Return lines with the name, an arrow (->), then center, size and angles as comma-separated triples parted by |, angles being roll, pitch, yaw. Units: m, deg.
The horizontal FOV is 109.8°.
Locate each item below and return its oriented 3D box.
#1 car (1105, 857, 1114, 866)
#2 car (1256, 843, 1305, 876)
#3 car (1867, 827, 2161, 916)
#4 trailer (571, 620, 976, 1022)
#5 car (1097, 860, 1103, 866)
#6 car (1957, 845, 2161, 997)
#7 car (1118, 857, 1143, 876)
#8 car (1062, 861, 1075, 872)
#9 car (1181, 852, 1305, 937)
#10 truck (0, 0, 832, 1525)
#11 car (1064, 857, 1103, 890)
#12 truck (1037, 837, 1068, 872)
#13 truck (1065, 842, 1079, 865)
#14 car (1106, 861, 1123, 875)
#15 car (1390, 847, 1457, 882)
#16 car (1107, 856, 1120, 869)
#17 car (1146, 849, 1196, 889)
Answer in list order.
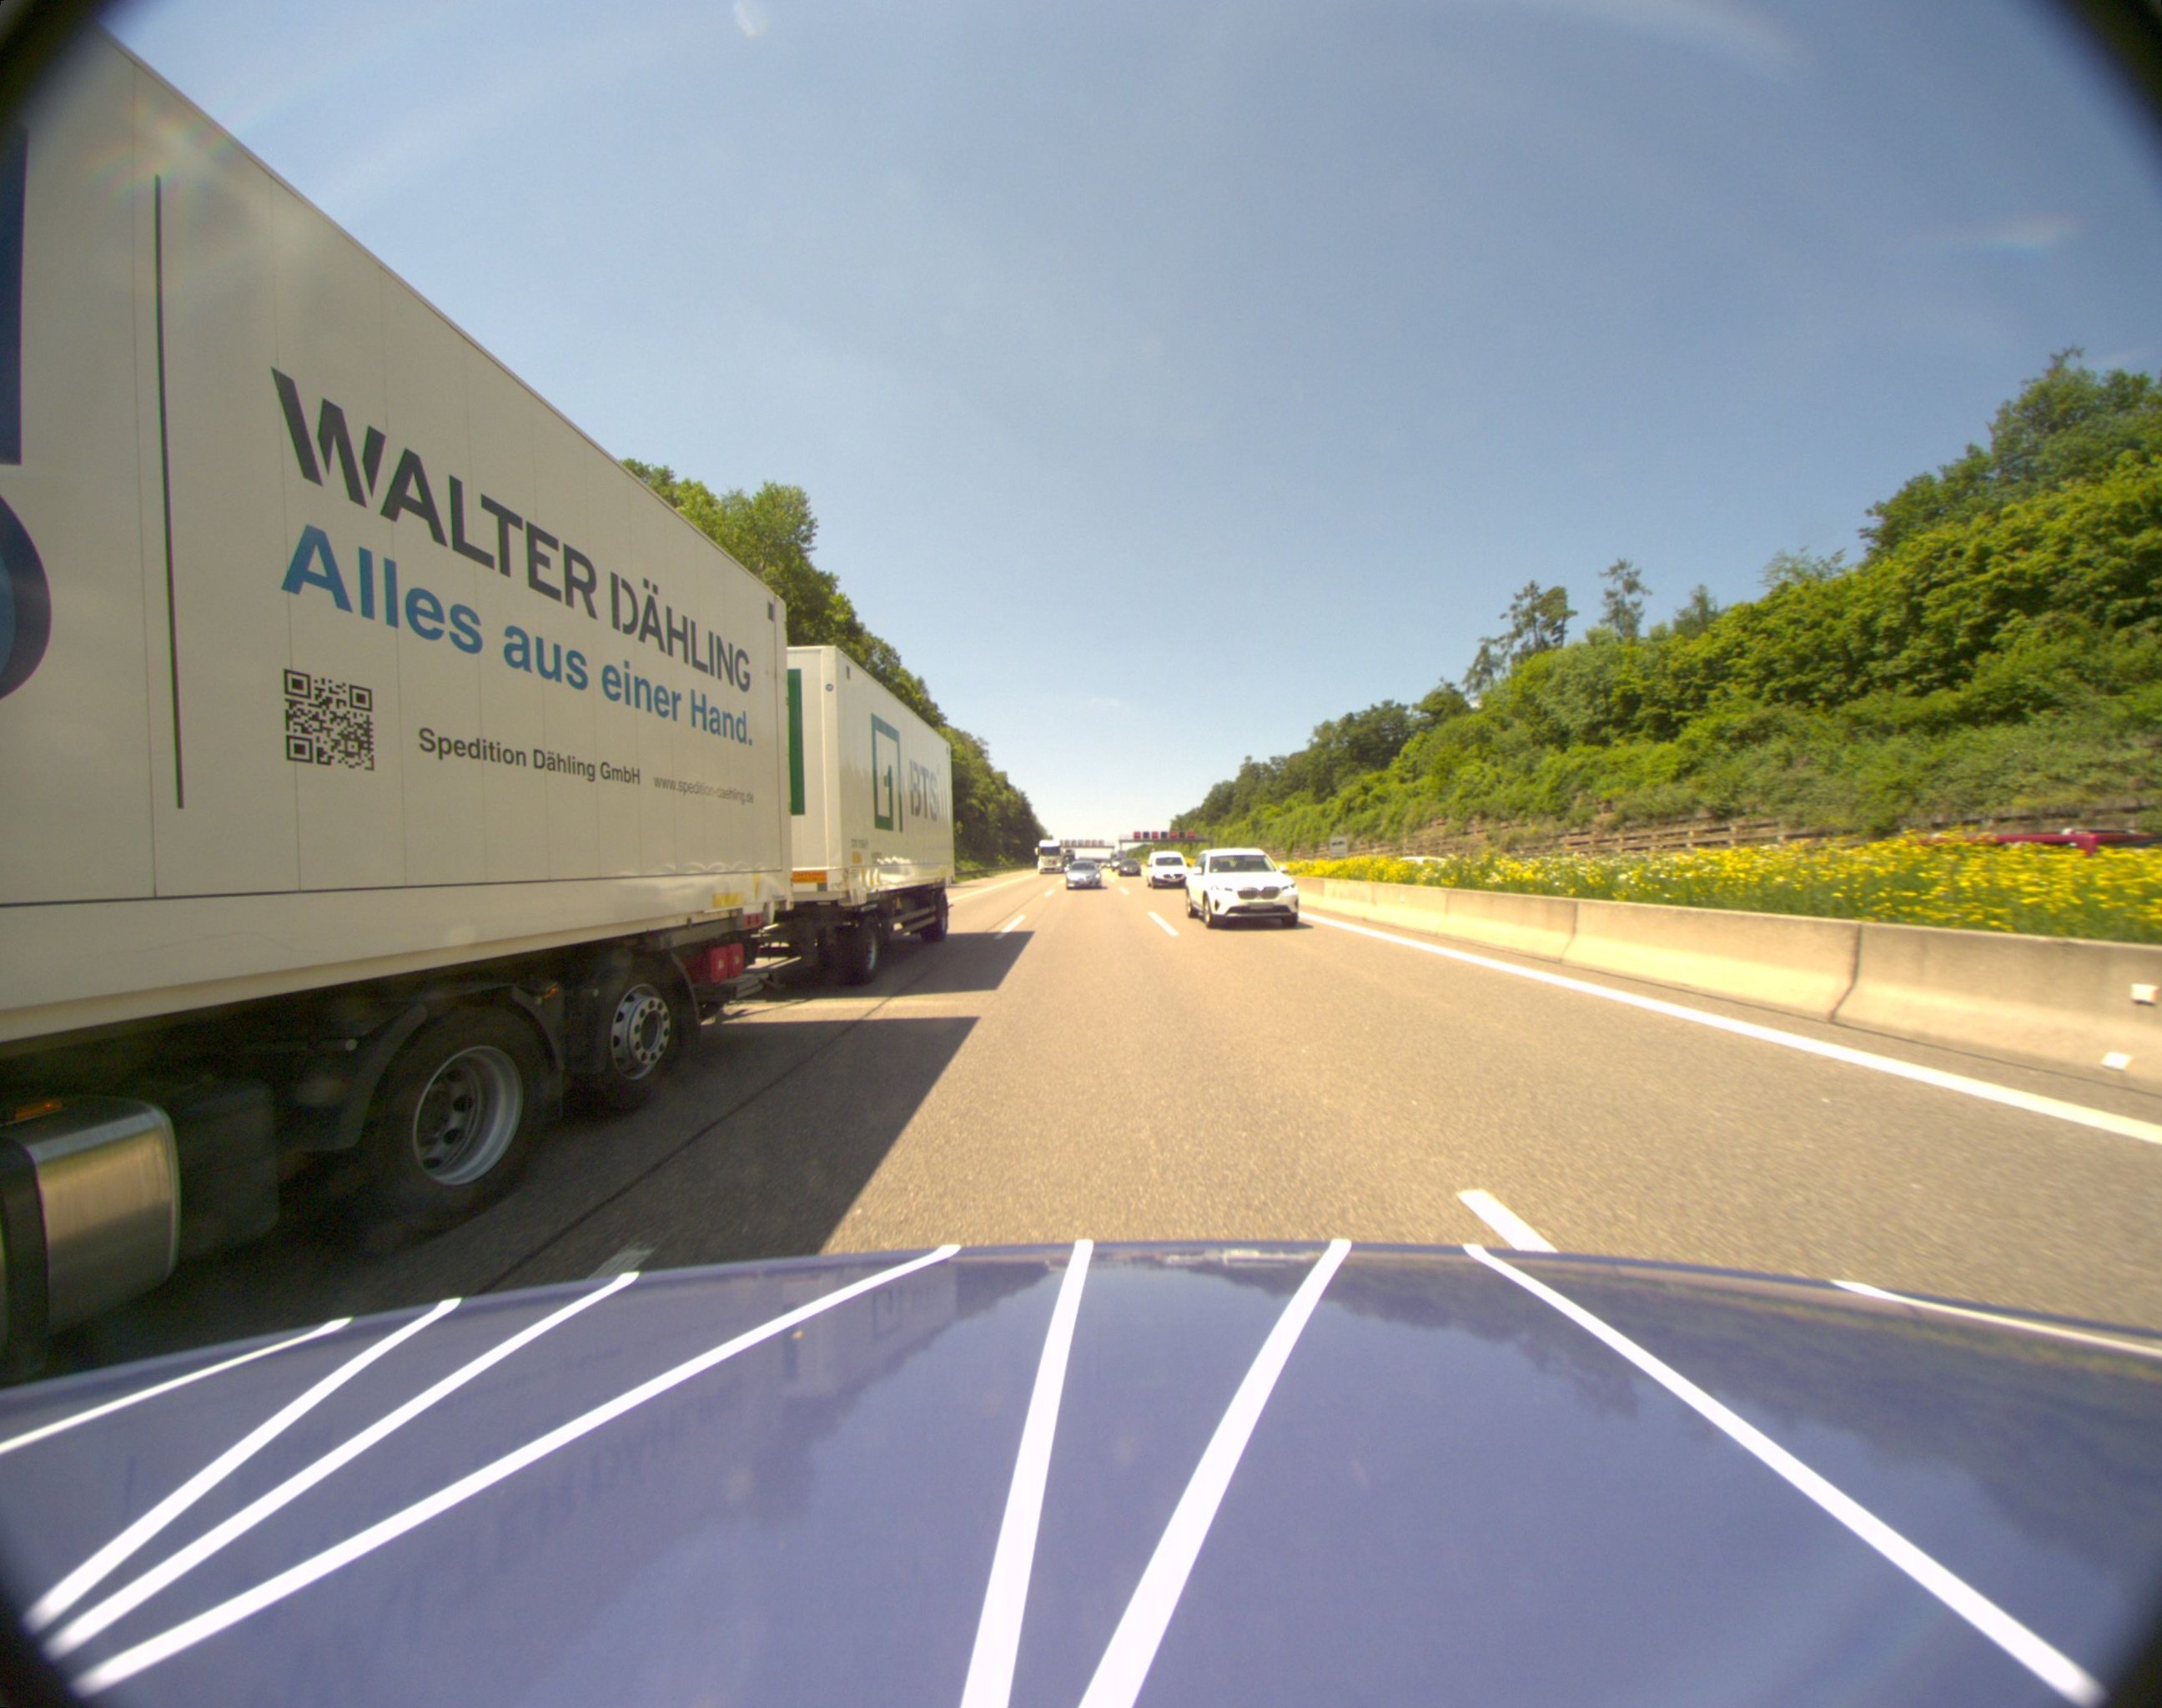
car -> 6.182, 1.577, 165.924 | 1.924, 1.848, 4.001 | -3, -1, 2
car -> 12.171, 0.355, 46.674 | 1.895, 1.796, 4.502 | -3, -1, 2
car -> 22.356, 0.339, 18.348 | 1.998, 1.797, 4.654 | -3, 1, 2
trailer -> -3.931, -0.265, 13.009 | 2.687, 4.150, 10.066 | -2, -1, 0
car -> 6.407, 3.114, 256.575 | 1.924, 1.848, 4.001 | -3, -1, 2
car -> 11.667, 0.665, 7.046 | 1.792, 1.513, 4.586 | 0, 0, 0
car -> 4.108, 1.043, 63.925 | 1.770, 1.504, 4.726 | -3, -1, 0
car -> -1.885, 1.792, 112.609 | 1.770, 1.504, 4.001 | -3, -1, 0
car -> 3.479, 0.801, 17.167 | 1.850, 1.634, 4.368 | -2, 0, 0
truck -> -4.031, -0.328, 2.477 | 2.686, 4.035, 10.627 | -2, -1, 1
car -> 0.183, 0.991, 39.614 | 1.843, 1.517, 4.502 | -3, -1, 2
truck -> -3.102, 0.169, 86.949 | 2.844, 3.517, 13.089 | -3, -1, 0
truck -> -1.831, -0.009, 158.162 | 2.627, 4.364, 13.089 | -3, -1, 0
car -> 3.813, 1.607, 86.827 | 1.770, 1.504, 4.001 | -3, -1, 0
car -> 19.291, 0.546, 43.033 | 1.815, 1.797, 4.501 | -3, 1, 2
car -> 5.048, 1.375, 117.472 | 1.924, 1.848, 4.001 | -3, -1, 2
car -> 4.413, 0.733, 37.937 | 1.998, 1.763, 4.502 | -3, -1, 2
